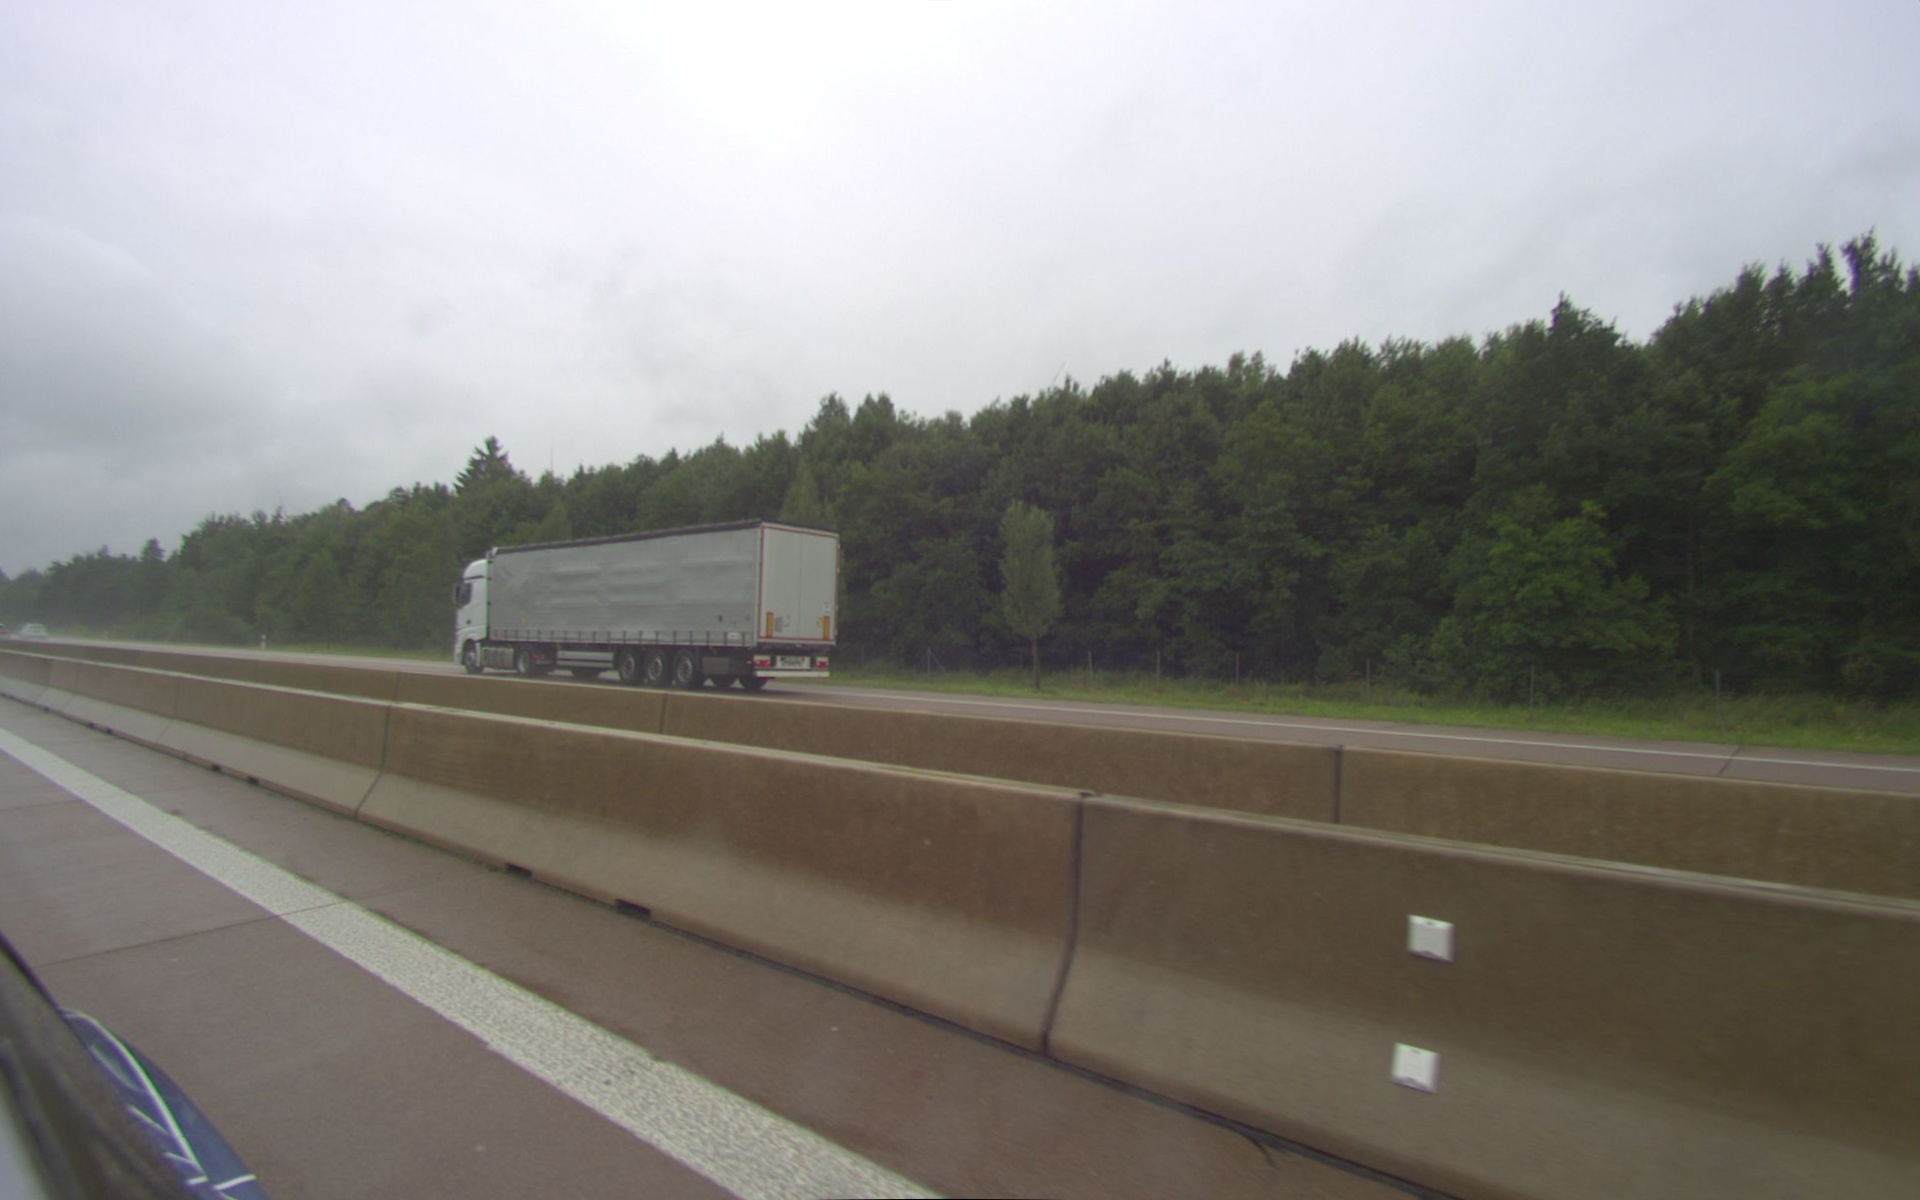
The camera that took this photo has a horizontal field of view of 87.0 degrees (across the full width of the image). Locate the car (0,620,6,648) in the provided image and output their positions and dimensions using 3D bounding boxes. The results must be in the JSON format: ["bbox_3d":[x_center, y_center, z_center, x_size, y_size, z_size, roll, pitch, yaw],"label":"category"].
[{"bbox_3d":[-64.411,2.276,66.813,3.875,1.809,1.770,-1,0,41],"label":"car"}]

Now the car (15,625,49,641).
[{"bbox_3d":[-87.827,3.116,95.767,4.580,1.491,1.735,-1,-4,41],"label":"car"}]

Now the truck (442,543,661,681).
[{"bbox_3d":[-13.244,0.348,32.500,7.458,3.918,3.438,-1,0,40],"label":"truck"}]

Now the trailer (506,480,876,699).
[{"bbox_3d":[-7.934,-0.198,27.958,12.436,4.903,3.395,-1,0,40],"label":"trailer"}]
